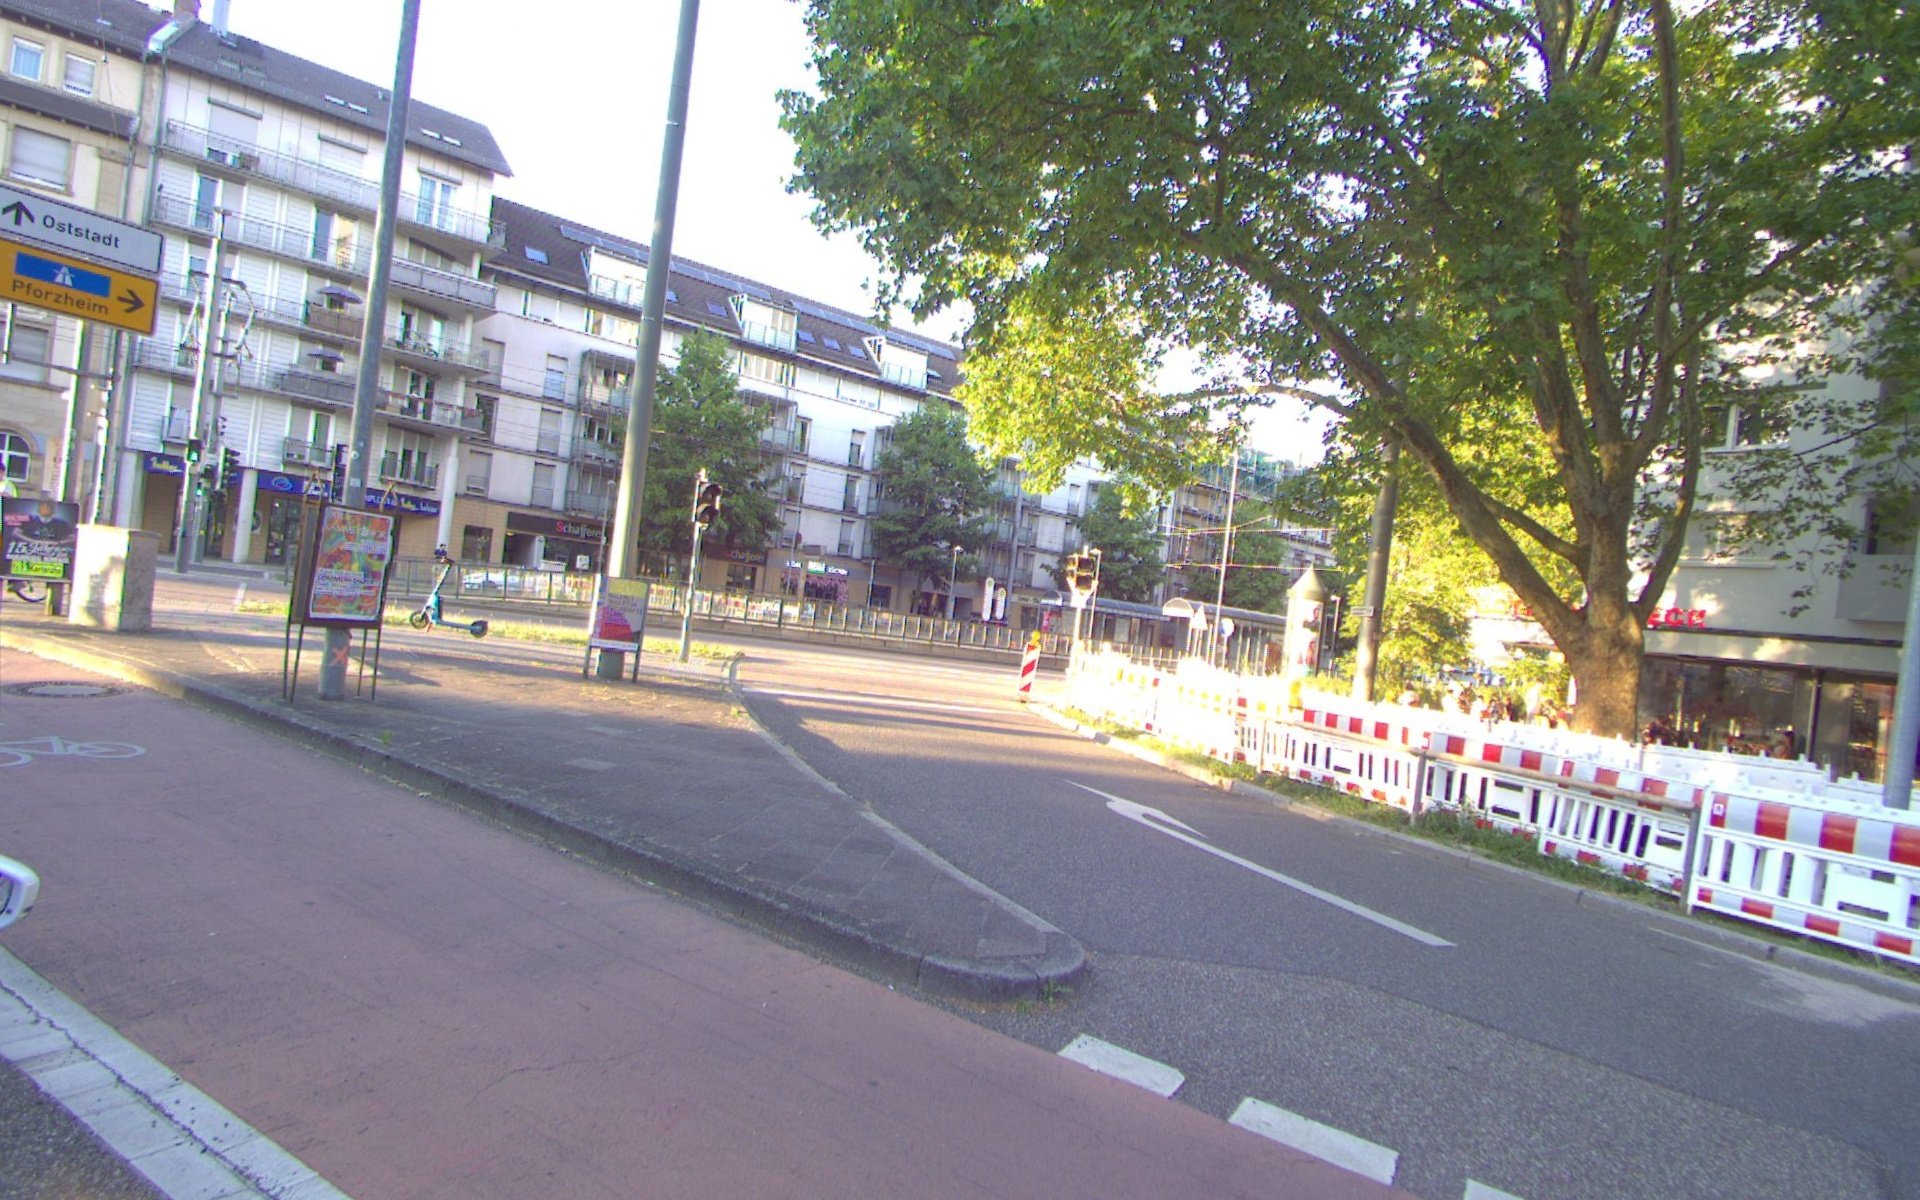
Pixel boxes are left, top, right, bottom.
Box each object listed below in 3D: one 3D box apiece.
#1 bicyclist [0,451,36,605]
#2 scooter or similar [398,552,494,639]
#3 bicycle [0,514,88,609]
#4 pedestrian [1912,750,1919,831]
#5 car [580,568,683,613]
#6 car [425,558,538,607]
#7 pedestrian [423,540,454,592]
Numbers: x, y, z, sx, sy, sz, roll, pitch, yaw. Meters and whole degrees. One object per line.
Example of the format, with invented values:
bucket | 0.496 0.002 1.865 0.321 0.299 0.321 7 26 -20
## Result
bicyclist | -11.964 -0.913 12.208 0.617 1.845 0.699 7 -1 0
scooter or similar | -8.416 -0.063 16.513 1.217 1.264 0.513 7 -1 -19
bicycle | -12.013 -0.515 12.387 0.617 1.122 2.073 7 -2 0
pedestrian | 15.692 2.913 15.841 0.733 1.607 0.641 6 -1 25
car | -14.940 -0.413 45.856 3.970 1.503 1.830 9 -3 -39
car | -20.029 -0.725 42.149 3.964 1.503 1.833 9 -2 -34
pedestrian | -23.450 -1.539 45.231 0.864 2.234 0.812 8 -1 -39
